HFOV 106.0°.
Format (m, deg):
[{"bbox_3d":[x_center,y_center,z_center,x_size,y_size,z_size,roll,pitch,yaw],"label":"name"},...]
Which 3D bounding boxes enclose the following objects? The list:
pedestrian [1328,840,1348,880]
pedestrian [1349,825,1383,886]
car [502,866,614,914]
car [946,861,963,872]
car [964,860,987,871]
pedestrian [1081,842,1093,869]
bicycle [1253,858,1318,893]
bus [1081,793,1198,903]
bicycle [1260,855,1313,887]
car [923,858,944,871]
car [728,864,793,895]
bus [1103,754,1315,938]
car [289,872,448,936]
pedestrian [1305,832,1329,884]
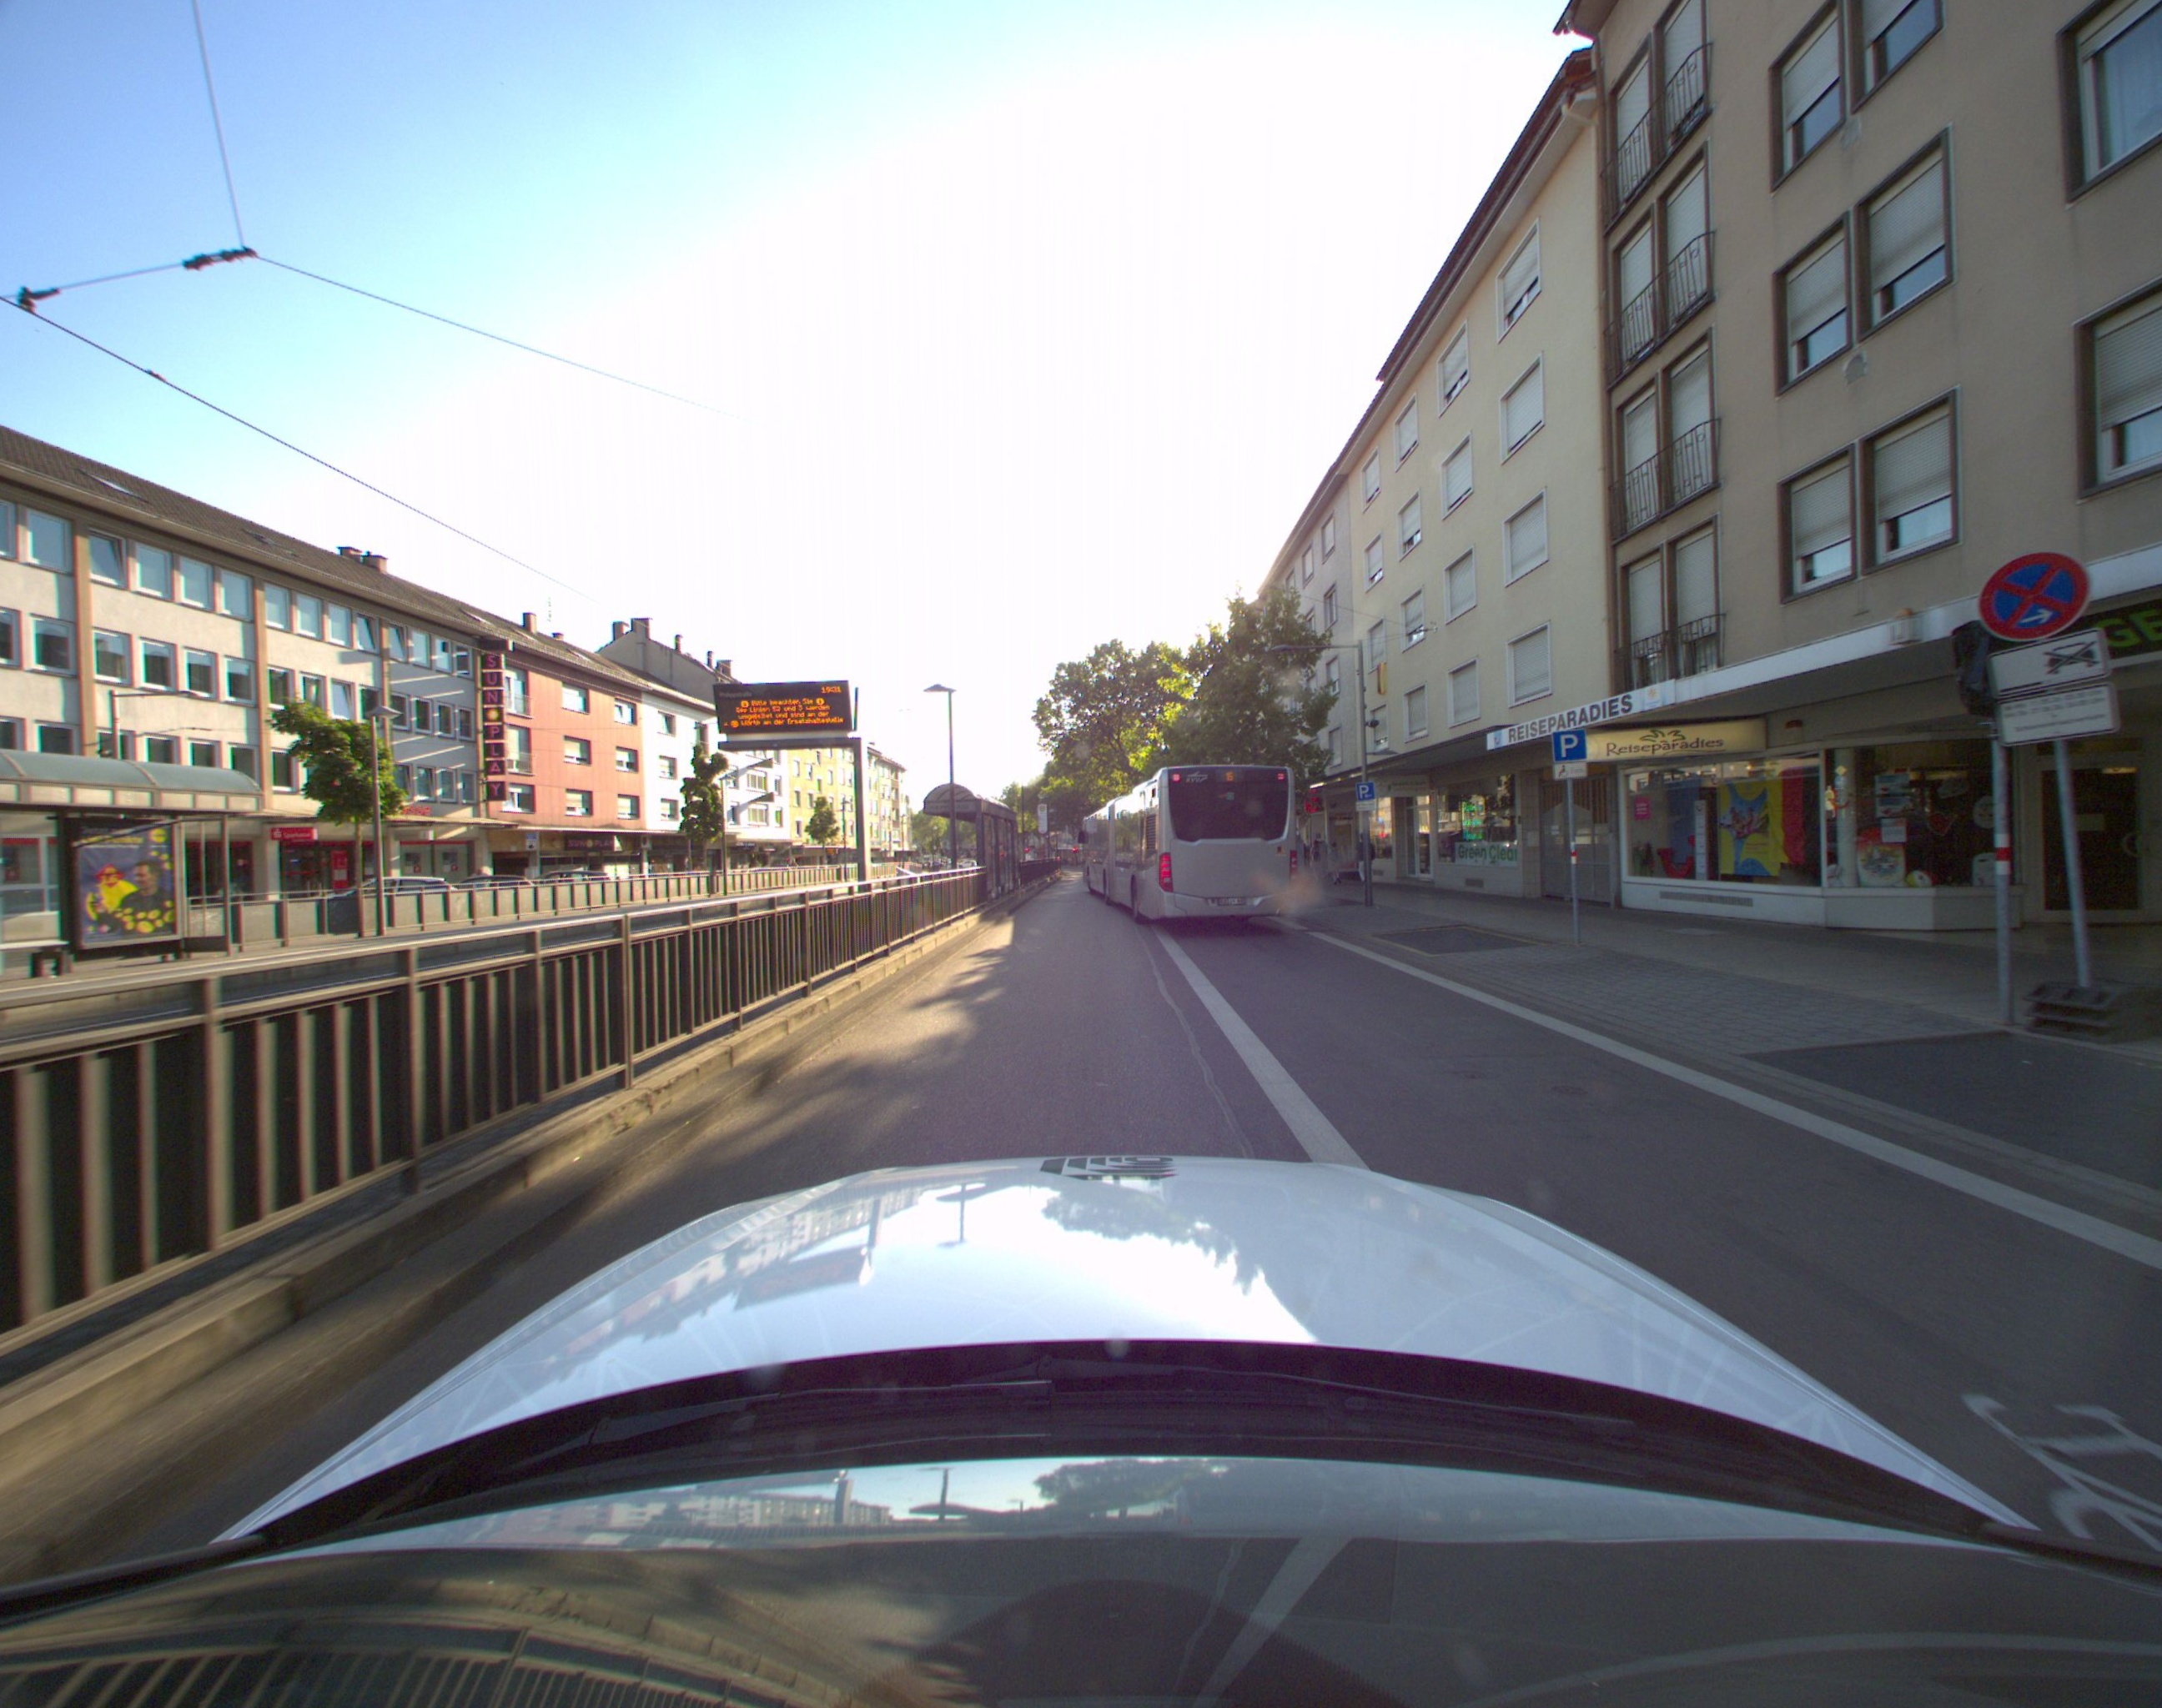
[{"bbox_3d":[9.092,0.200,28.842,0.473,1.394,0.612,-2,0,1],"label":"pedestrian"},{"bbox_3d":[8.686,0.038,24.821,0.721,1.795,0.767,-2,0,1],"label":"pedestrian"},{"bbox_3d":[-21.485,1.434,33.525,3.531,1.679,1.749,-3,0,-44],"label":"car"},{"bbox_3d":[-21.137,2.042,136.089,1.986,1.651,4.001,-2,0,1],"label":"car"},{"bbox_3d":[-19.477,2.136,150.528,3.983,2.013,1.958,-2,0,-7],"label":"car"},{"bbox_3d":[0.607,0.151,77.586,0.884,2.546,1.166,-2,0,8],"label":"pedestrian"},{"bbox_3d":[6.551,0.685,26.132,1.778,0.942,0.793,-6,0,-4],"label":"bicycle"},{"bbox_3d":[1.689,-0.204,27.915,2.691,3.118,9.056,-1,0,-4],"label":"bus"},{"bbox_3d":[6.896,0.566,27.327,1.702,0.942,0.646,-1,-9,-34],"label":"bicycle"},{"bbox_3d":[-20.106,1.384,111.216,1.986,1.651,4.001,-2,0,1],"label":"car"},{"bbox_3d":[-21.222,1.671,53.953,3.532,1.679,1.749,-7,4,-44],"label":"car"},{"bbox_3d":[2.350,-0.169,18.691,2.691,3.118,9.367,-1,0,-4],"label":"bus"},{"bbox_3d":[-22.380,1.518,25.667,1.748,1.679,3.533,-2,0,42],"label":"car"},{"bbox_3d":[8.427,0.137,29.077,0.562,1.795,0.767,-2,0,1],"label":"pedestrian"}]
